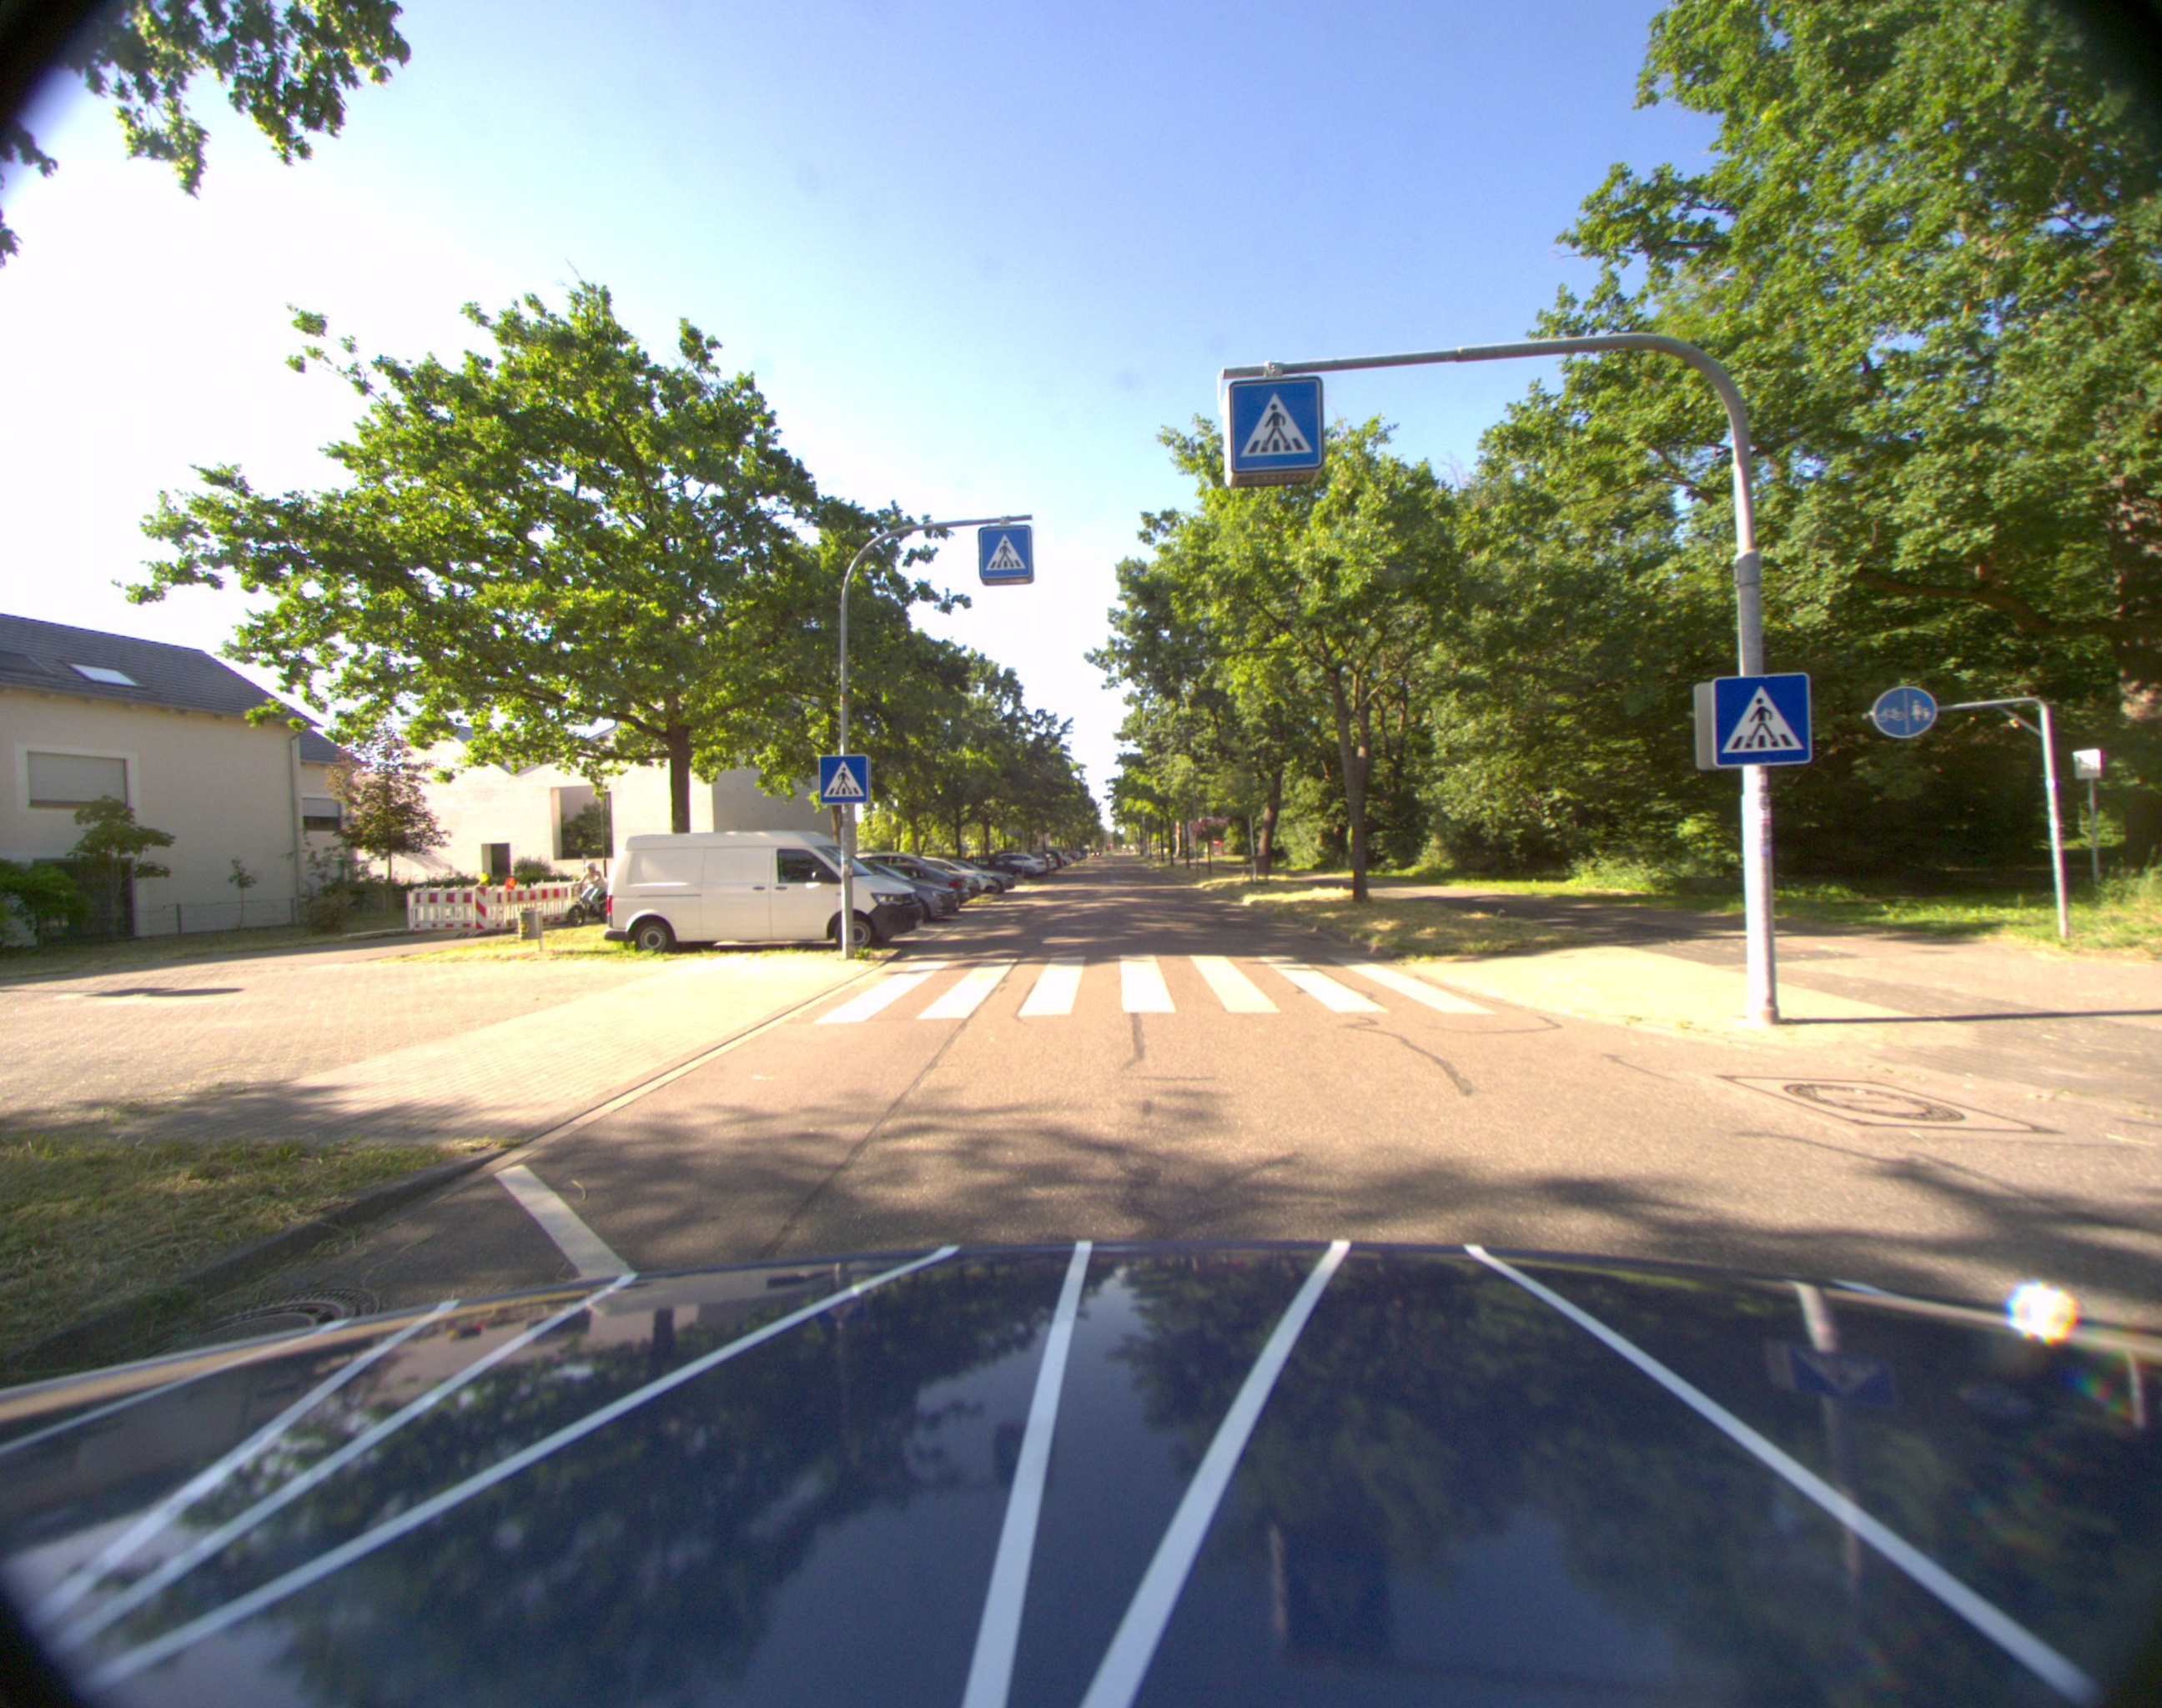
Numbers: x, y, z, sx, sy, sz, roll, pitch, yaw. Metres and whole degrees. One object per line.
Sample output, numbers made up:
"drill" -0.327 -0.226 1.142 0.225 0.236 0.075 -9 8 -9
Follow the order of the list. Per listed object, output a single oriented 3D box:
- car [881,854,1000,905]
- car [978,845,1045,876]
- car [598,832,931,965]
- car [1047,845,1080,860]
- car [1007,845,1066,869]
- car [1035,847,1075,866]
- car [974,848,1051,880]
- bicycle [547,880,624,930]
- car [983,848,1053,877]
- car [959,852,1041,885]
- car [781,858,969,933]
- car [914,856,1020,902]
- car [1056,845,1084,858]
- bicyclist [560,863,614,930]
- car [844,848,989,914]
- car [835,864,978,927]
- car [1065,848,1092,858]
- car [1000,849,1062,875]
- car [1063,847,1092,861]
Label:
"car" -5.173 0.920 28.246 4.018 1.669 1.533 -3 1 4
"car" -4.903 0.427 53.808 4.394 1.977 1.533 -3 1 4
"car" -5.403 0.728 13.448 5.045 2.069 1.891 -1 1 2
"car" -2.339 -0.207 101.210 4.151 1.838 1.949 -3 1 3
"car" -3.469 0.224 59.978 4.394 1.733 1.533 -3 1 4
"car" -2.702 0.239 80.257 3.996 1.838 1.863 -3 1 3
"car" -4.133 0.600 46.357 4.394 1.733 1.533 -3 1 4
"bicycle" -12.896 1.307 19.833 0.677 1.144 1.830 -3 0 3
"car" -4.172 0.560 50.558 4.394 1.733 1.533 -3 1 4
"car" -4.603 0.823 43.344 4.394 1.632 1.533 -3 1 4
"car" -4.954 0.985 18.599 3.996 1.554 1.758 -3 1 4
"car" -4.644 1.012 31.227 4.018 1.650 1.533 -3 1 4
"car" -1.738 -0.337 117.539 4.151 1.838 1.949 -3 1 3
"bicyclist" -12.917 1.098 19.882 0.726 1.656 0.849 -3 2 1
"car" -5.053 0.813 23.643 4.018 1.783 1.713 -3 1 4
"car" -4.776 1.127 21.084 3.515 1.533 1.448 -3 1 4
"car" -0.397 -0.110 122.526 4.151 1.401 1.800 -3 1 3
"car" -3.760 0.573 57.621 4.394 1.733 1.533 -3 1 4
"car" -0.476 -0.022 112.440 4.151 1.838 1.949 -3 1 3
